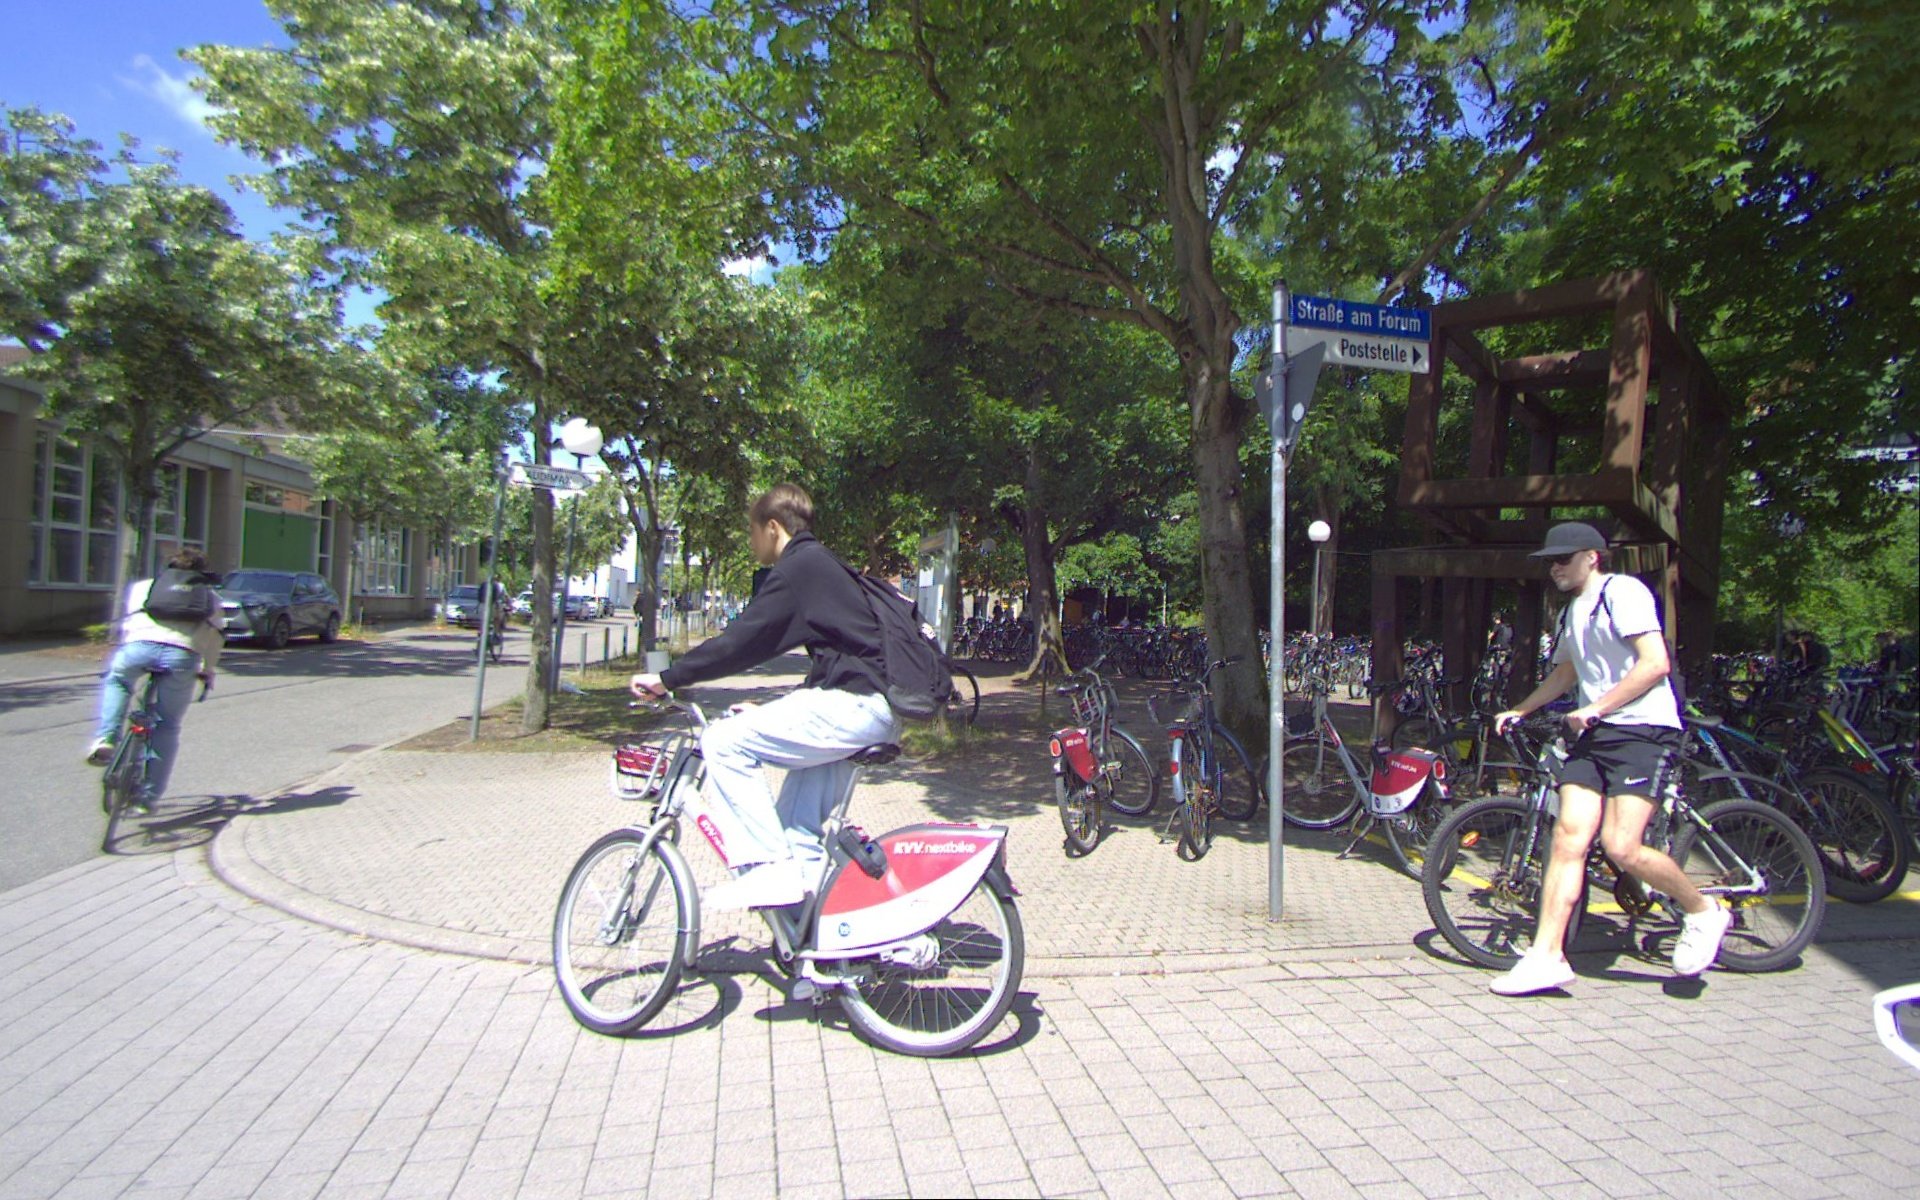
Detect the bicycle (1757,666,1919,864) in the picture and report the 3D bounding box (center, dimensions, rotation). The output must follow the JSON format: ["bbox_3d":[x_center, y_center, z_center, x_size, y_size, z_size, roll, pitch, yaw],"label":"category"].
[{"bbox_3d":[6.042,1.044,6.376,0.496,1.123,1.628,3,0,-6],"label":"bicycle"}]

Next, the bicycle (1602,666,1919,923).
[{"bbox_3d":[4.476,0.996,5.659,0.488,1.123,1.628,3,0,-6],"label":"bicycle"}]

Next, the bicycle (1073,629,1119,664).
[{"bbox_3d":[4.520,1.559,33.270,1.686,1.098,0.468,3,0,-41],"label":"bicycle"}]

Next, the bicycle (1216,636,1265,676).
[{"bbox_3d":[8.147,1.622,29.141,1.686,1.098,0.468,3,0,-41],"label":"bicycle"}]

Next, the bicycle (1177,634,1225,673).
[{"bbox_3d":[7.243,1.611,30.190,1.686,1.098,0.468,3,0,-41],"label":"bicycle"}]

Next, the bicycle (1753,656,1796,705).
[{"bbox_3d":[20.495,2.018,25.300,0.508,1.125,1.774,3,0,30],"label":"bicycle"}]

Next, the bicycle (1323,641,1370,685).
[{"bbox_3d":[10.237,1.661,26.590,0.468,1.098,1.689,3,0,45],"label":"bicycle"}]

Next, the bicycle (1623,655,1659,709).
[{"bbox_3d":[14.979,1.781,22.090,0.467,1.098,1.692,3,0,39],"label":"bicycle"}]

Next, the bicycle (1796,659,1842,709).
[{"bbox_3d":[21.321,2.057,24.958,0.508,1.125,1.774,3,0,30],"label":"bicycle"}]

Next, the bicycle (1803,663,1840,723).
[{"bbox_3d":[17.144,1.830,20.008,0.467,1.098,1.692,3,0,39],"label":"bicycle"}]

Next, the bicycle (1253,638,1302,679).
[{"bbox_3d":[8.916,1.635,28.180,1.686,1.098,0.468,3,0,-41],"label":"bicycle"}]

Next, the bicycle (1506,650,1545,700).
[{"bbox_3d":[13.256,1.731,23.518,0.467,1.098,1.692,3,0,39],"label":"bicycle"}]

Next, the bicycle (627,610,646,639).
[{"bbox_3d":[-12.765,0.956,39.682,0.659,1.122,2.065,1,-1,-17],"label":"bicycle"}]

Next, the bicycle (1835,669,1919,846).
[{"bbox_3d":[6.589,1.069,6.373,0.488,1.123,1.628,3,0,-6],"label":"bicycle"}]

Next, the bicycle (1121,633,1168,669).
[{"bbox_3d":[5.815,1.616,31.610,1.686,1.098,0.468,3,0,-41],"label":"bicycle"}]

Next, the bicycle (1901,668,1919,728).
[{"bbox_3d":[18.640,1.901,19.274,0.466,1.098,1.696,3,0,31],"label":"bicycle"}]

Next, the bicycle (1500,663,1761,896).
[{"bbox_3d":[3.923,0.983,6.036,0.487,1.123,1.630,1,0,1],"label":"bicycle"}]

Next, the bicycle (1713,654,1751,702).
[{"bbox_3d":[19.733,1.984,25.692,0.508,1.125,1.774,3,0,30],"label":"bicycle"}]

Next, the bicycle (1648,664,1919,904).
[{"bbox_3d":[4.986,1.005,5.972,0.488,1.123,1.628,3,0,-6],"label":"bicycle"}]

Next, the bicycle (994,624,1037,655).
[{"bbox_3d":[2.055,1.479,37.207,1.686,1.098,0.468,3,0,-41],"label":"bicycle"}]

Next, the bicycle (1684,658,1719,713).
[{"bbox_3d":[15.836,1.806,21.438,0.467,1.098,1.692,3,0,39],"label":"bicycle"}]

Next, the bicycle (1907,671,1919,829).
[{"bbox_3d":[7.290,1.095,6.480,0.678,1.123,1.628,3,0,-6],"label":"bicycle"}]

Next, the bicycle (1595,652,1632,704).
[{"bbox_3d":[14.572,1.719,22.378,0.467,1.098,1.692,3,0,39],"label":"bicycle"}]

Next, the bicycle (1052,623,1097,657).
[{"bbox_3d":[3.898,1.363,34.168,1.686,1.098,0.468,3,0,-41],"label":"bicycle"}]

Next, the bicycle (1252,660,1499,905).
[{"bbox_3d":[2.299,0.947,5.780,0.488,1.123,1.626,1,0,-11],"label":"bicycle"}]

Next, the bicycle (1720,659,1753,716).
[{"bbox_3d":[16.255,1.810,21.026,0.467,1.098,1.692,3,0,39],"label":"bicycle"}]

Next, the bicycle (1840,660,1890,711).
[{"bbox_3d":[21.954,2.058,24.389,0.508,1.125,1.774,3,0,30],"label":"bicycle"}]

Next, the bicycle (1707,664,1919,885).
[{"bbox_3d":[5.528,1.019,6.088,0.618,1.123,1.628,3,0,-7],"label":"bicycle"}]

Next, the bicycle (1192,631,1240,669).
[{"bbox_3d":[7.574,1.483,29.662,1.686,1.098,0.468,3,0,-41],"label":"bicycle"}]

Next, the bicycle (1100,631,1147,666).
[{"bbox_3d":[5.308,1.577,32.516,1.686,1.098,0.468,3,0,-41],"label":"bicycle"}]

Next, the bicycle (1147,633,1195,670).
[{"bbox_3d":[6.476,1.586,30.764,1.686,1.098,0.468,3,0,-41],"label":"bicycle"}]

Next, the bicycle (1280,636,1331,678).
[{"bbox_3d":[9.391,1.548,27.262,1.686,1.098,0.468,3,0,-41],"label":"bicycle"}]

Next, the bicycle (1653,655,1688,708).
[{"bbox_3d":[15.720,1.777,22.214,0.467,1.098,1.692,3,0,39],"label":"bicycle"}]

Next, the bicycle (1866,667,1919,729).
[{"bbox_3d":[18.237,1.890,19.604,0.466,1.098,1.696,3,0,31],"label":"bicycle"}]

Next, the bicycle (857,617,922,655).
[{"bbox_3d":[-2.217,1.151,31.827,2.007,1.122,0.498,3,0,-31],"label":"bicycle"}]

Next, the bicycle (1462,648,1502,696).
[{"bbox_3d":[12.623,1.723,24.265,0.467,1.098,1.692,3,0,39],"label":"bicycle"}]

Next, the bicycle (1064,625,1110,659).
[{"bbox_3d":[4.274,1.411,33.718,1.686,1.098,0.468,3,0,-41],"label":"bicycle"}]

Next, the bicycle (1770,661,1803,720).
[{"bbox_3d":[16.932,1.834,20.588,0.467,1.098,1.692,3,0,39],"label":"bicycle"}]

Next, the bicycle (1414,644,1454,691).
[{"bbox_3d":[11.823,1.674,25.051,0.467,1.098,1.692,3,0,39],"label":"bicycle"}]

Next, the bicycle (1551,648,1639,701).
[{"bbox_3d":[15.180,1.760,24.029,1.673,1.098,0.602,3,0,39],"label":"bicycle"}]

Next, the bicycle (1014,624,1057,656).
[{"bbox_3d":[2.736,1.463,36.469,1.686,1.098,0.468,3,0,-41],"label":"bicycle"}]

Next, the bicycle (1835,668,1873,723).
[{"bbox_3d":[17.506,1.852,19.688,0.445,0.974,1.732,3,0,39],"label":"bicycle"}]

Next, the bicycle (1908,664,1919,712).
[{"bbox_3d":[22.825,2.089,23.500,0.508,1.125,1.774,3,0,30],"label":"bicycle"}]

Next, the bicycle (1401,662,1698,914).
[{"bbox_3d":[3.216,0.957,5.667,0.488,1.123,1.626,1,0,-11],"label":"bicycle"}]
